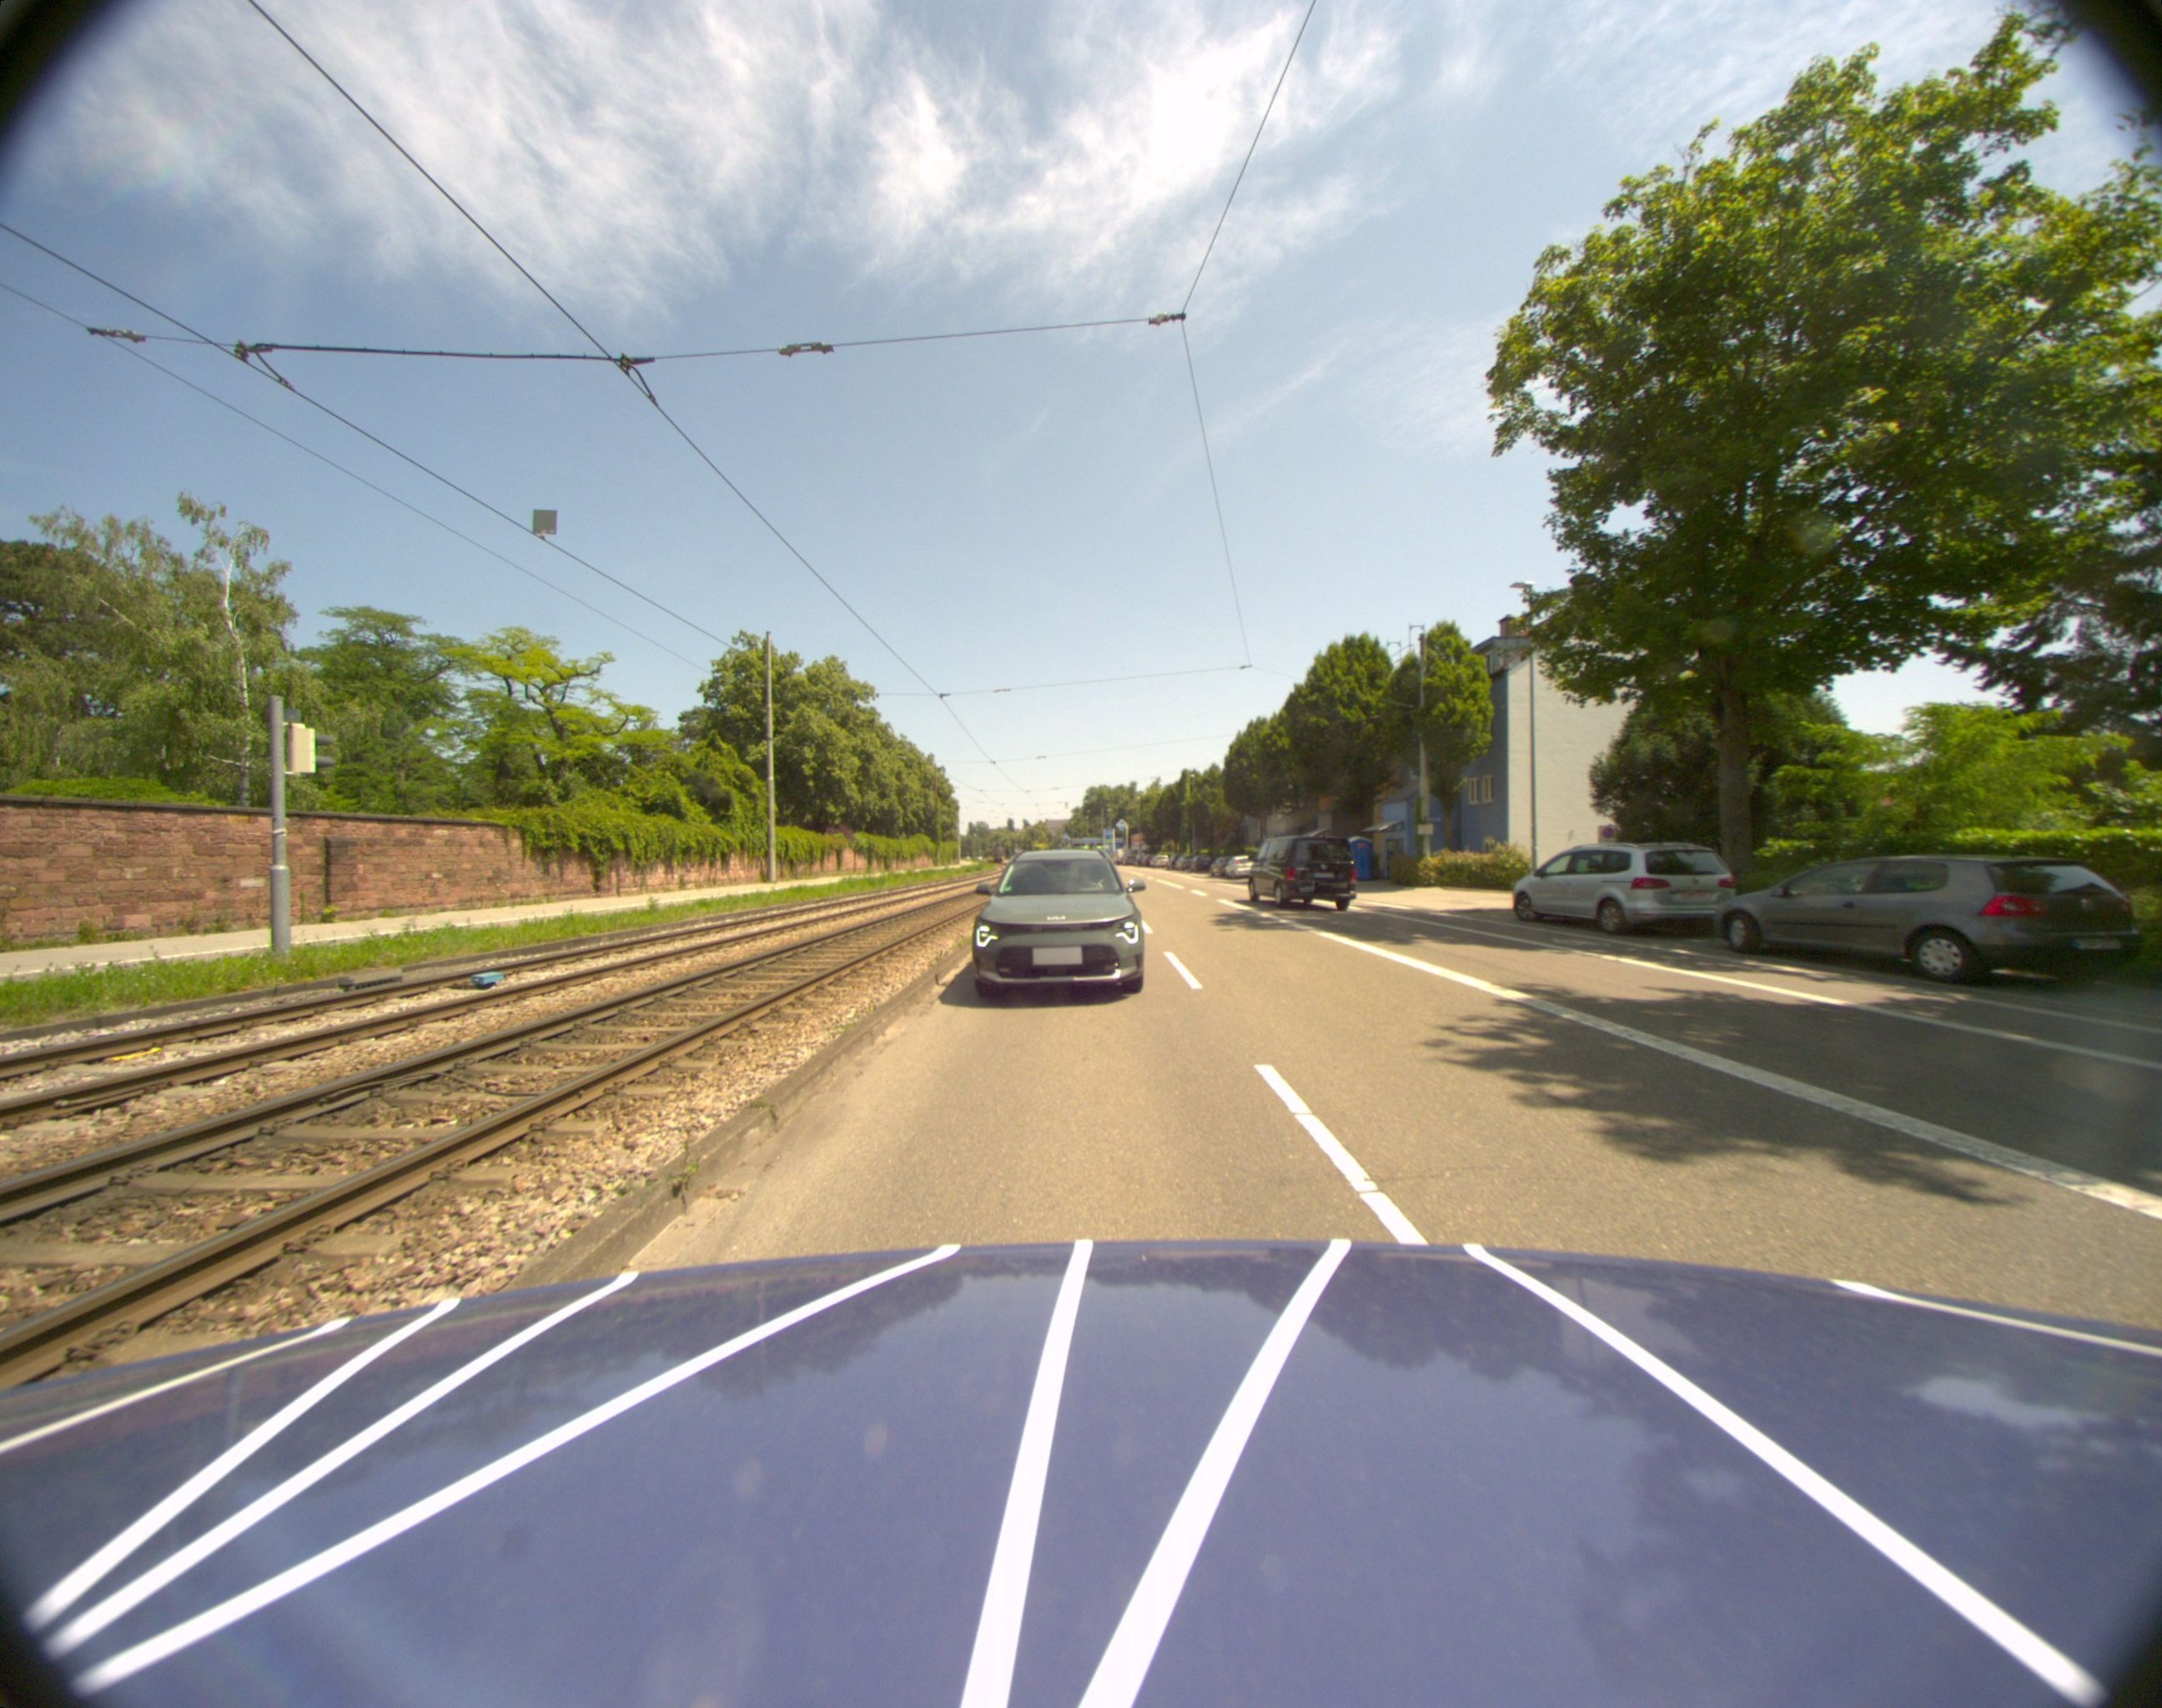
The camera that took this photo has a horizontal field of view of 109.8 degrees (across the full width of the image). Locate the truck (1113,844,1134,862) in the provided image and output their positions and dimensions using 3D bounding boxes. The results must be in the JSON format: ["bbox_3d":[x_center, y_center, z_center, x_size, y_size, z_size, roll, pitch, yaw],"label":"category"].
[{"bbox_3d":[6.497,-0.140,117.378,2.135,2.565,4.860,-4,0,-9],"label":"truck"}]

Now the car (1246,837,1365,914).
[{"bbox_3d":[6.085,0.526,21.186,1.923,1.899,4.570,1,0,0],"label":"car"}]

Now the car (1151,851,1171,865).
[{"bbox_3d":[9.605,0.487,91.566,1.723,1.487,4.081,-4,0,-1],"label":"car"}]

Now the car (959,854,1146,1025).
[{"bbox_3d":[-0.266,0.820,9.490,1.759,1.574,4.426,-1,0,0],"label":"car"}]

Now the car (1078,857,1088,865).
[{"bbox_3d":[0.410,1.374,159.911,1.865,1.487,3.470,-4,0,-1],"label":"car"}]

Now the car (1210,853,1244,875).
[{"bbox_3d":[11.023,0.708,57.684,1.656,1.487,4.081,-4,0,-1],"label":"car"}]

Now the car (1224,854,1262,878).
[{"bbox_3d":[11.117,0.822,52.332,1.656,1.487,3.649,-4,0,-1],"label":"car"}]

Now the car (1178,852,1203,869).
[{"bbox_3d":[10.650,0.592,73.906,1.656,1.487,4.081,-4,0,-1],"label":"car"}]

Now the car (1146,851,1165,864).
[{"bbox_3d":[9.527,0.416,97.497,1.865,1.487,3.470,-4,0,-1],"label":"car"}]

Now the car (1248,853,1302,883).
[{"bbox_3d":[10.731,0.720,42.377,1.680,1.487,4.638,-4,0,-1],"label":"car"}]

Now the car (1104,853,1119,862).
[{"bbox_3d":[5.100,0.583,128.974,1.866,1.487,3.468,-4,0,-9],"label":"car"}]

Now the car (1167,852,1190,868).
[{"bbox_3d":[10.270,0.601,80.167,1.656,1.578,4.081,-4,0,-1],"label":"car"}]

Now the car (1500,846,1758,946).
[{"bbox_3d":[10.754,0.716,15.465,1.976,1.679,4.687,-1,0,2],"label":"car"}]

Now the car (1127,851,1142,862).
[{"bbox_3d":[7.792,0.379,111.191,1.865,1.487,3.470,0,0,-1],"label":"car"}]

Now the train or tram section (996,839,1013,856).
[{"bbox_3d":[-18.408,-1.549,182.502,2.813,3.785,14.258,-1,1,-1],"label":"train or tram section"}]

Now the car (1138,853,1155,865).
[{"bbox_3d":[8.810,0.647,102.117,1.865,1.487,3.470,-4,0,-1],"label":"car"}]

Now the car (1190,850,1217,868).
[{"bbox_3d":[11.136,0.457,69.264,1.656,1.487,4.081,-4,0,-1],"label":"car"}]

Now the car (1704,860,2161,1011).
[{"bbox_3d":[10.662,0.854,9.911,1.680,1.478,4.128,-1,0,0],"label":"car"}]
